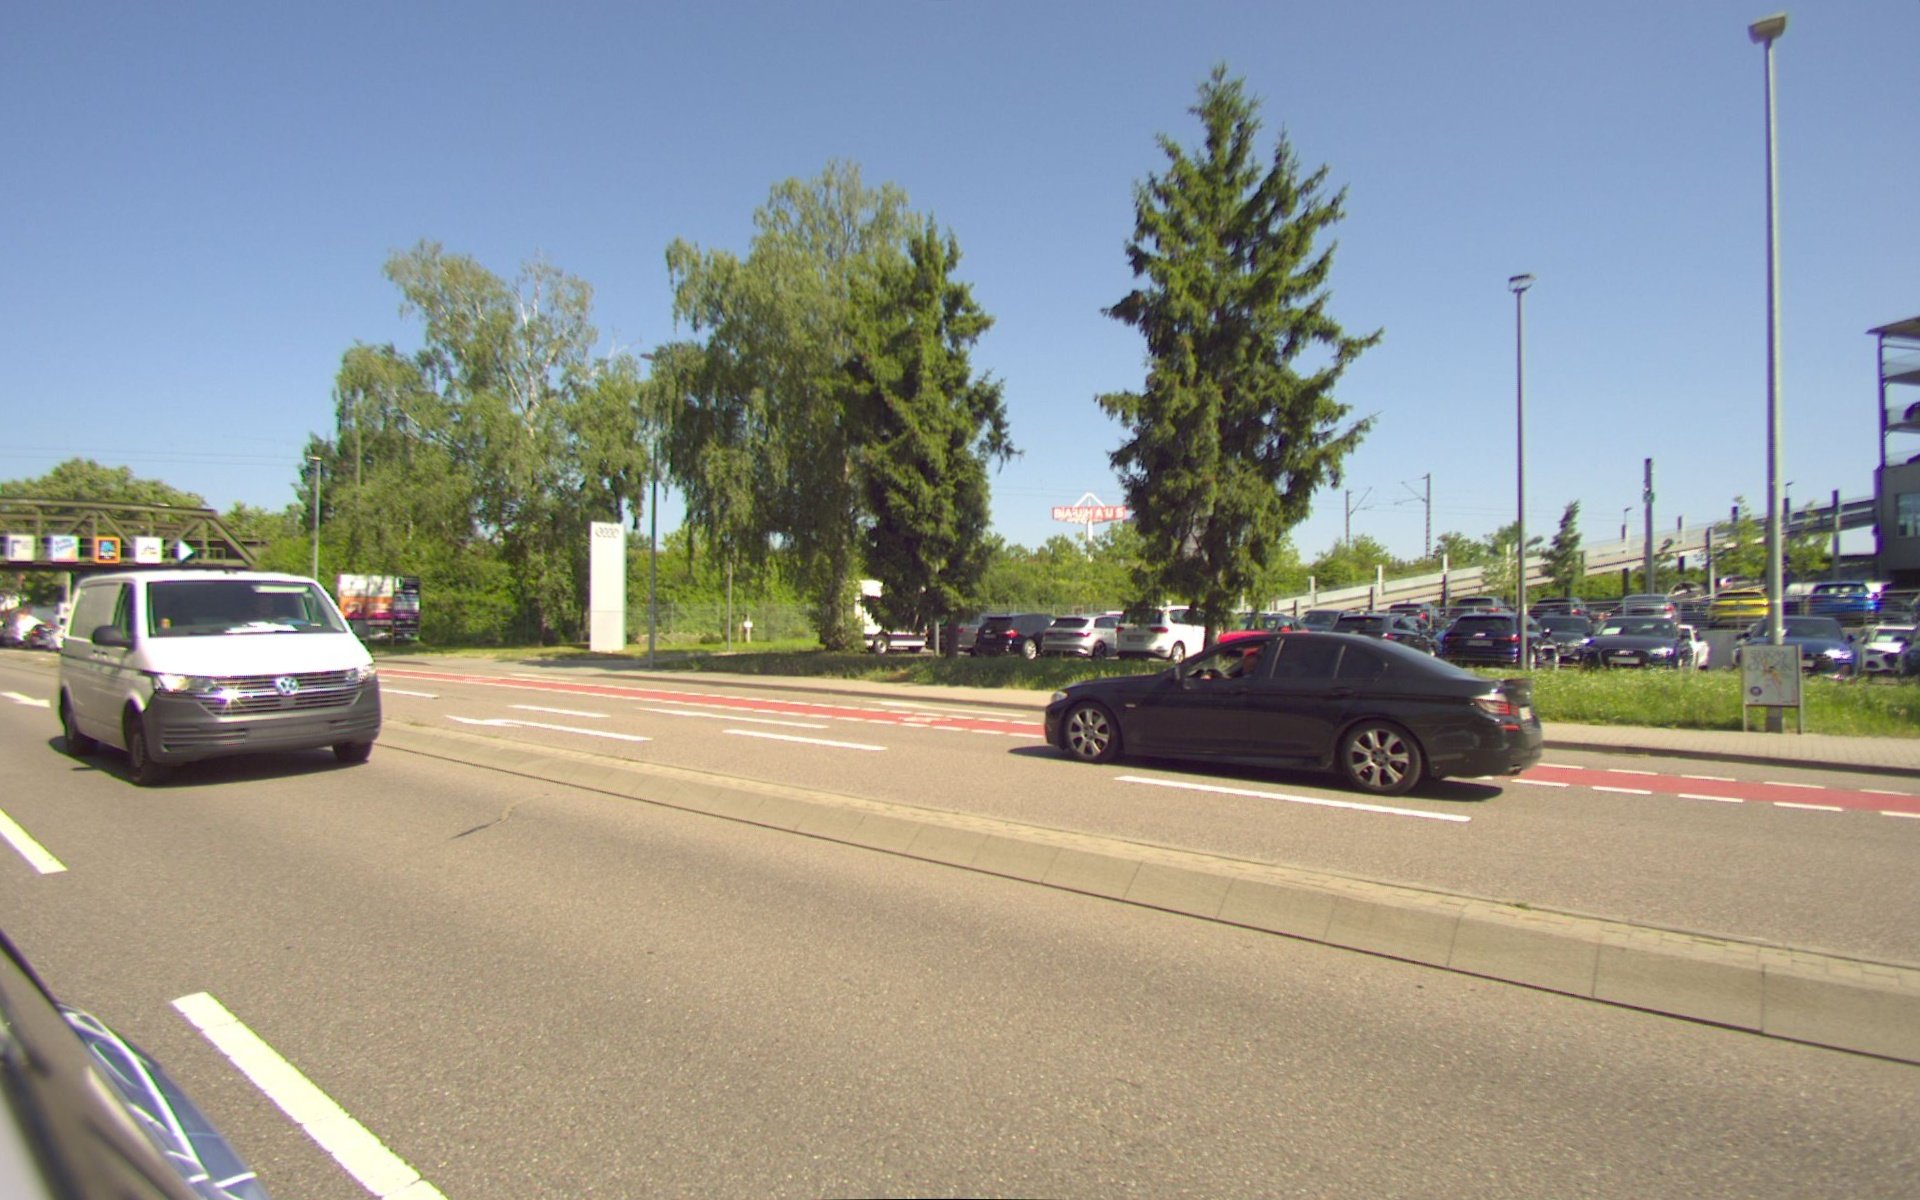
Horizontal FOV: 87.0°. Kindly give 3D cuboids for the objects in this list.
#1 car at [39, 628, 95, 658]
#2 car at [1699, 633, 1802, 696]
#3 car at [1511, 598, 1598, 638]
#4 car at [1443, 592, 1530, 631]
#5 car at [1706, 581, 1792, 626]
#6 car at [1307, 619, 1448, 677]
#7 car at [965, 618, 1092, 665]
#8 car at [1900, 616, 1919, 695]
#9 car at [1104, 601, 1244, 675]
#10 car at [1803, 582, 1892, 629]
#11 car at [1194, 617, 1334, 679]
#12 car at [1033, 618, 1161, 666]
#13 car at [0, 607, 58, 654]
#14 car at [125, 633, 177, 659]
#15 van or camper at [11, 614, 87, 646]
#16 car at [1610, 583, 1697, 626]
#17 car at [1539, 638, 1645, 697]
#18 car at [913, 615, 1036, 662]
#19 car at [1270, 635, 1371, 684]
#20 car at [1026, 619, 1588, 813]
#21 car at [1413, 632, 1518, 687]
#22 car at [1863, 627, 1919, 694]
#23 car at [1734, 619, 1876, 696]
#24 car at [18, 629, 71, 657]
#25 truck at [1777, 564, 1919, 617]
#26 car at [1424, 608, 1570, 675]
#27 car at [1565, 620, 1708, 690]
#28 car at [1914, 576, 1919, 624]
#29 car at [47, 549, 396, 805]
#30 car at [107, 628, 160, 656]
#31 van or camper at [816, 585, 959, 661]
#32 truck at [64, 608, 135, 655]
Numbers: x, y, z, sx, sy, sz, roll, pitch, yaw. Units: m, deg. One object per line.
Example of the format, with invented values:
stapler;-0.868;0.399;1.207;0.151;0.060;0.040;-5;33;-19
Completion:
car;-47.012;2.288;53.242;3.825;1.506;1.626;-3;-5;40
car;22.456;1.763;28.697;1.954;1.655;4.219;-2;-2;43
car;21.598;0.679;36.696;1.953;1.361;4.221;-2;-2;41
car;19.805;0.480;38.012;1.953;1.361;4.221;-2;-2;41
car;25.971;0.177;33.263;1.953;1.361;4.221;-2;-2;41
car;10.619;1.182;25.597;1.954;1.338;4.219;-2;-2;43
car;2.192;1.282;31.855;4.039;1.364;1.745;2;-2;-44
car;18.656;0.995;18.611;1.954;1.361;4.219;-2;-2;43
car;6.053;1.045;28.330;1.954;1.899;4.219;-2;-3;43
car;27.704;0.223;31.615;1.953;1.361;4.221;-2;-2;41
car;8.229;1.259;27.224;1.954;1.515;4.219;-2;-2;43
car;4.081;1.210;29.730;1.743;1.303;4.042;-2;-2;43
car;-58.894;1.953;63.701;6.930;2.827;1.973;-2;-5;39
car;-49.246;2.816;61.590;4.175;1.506;1.750;-3;-5;41
van or camper;-98.735;3.272;109.778;2.595;3.179;5.712;-3;-1;36
car;23.830;0.217;34.727;1.953;1.361;4.221;-2;-2;41
car;19.219;1.979;30.699;1.954;1.655;4.219;-2;-2;43
car;0.528;1.273;33.648;4.039;1.449;1.745;2;-3;-44
car;13.119;2.099;36.672;1.954;1.655;4.219;-2;-2;43
car;3.202;0.990;10.099;4.997;1.474;1.822;-1;-5;41
car;16.425;1.866;32.793;1.954;1.655;4.219;-2;-2;43
car;24.980;1.541;26.457;1.954;1.655;4.219;-2;-2;43
car;16.930;1.091;20.214;1.954;1.361;4.219;-2;-2;43
car;-53.139;2.529;58.700;4.175;1.506;1.750;-3;-5;41
truck;52.787;-0.485;59.591;8.321;2.939;2.673;1;-2;-13
car;12.415;0.928;23.272;1.954;1.392;4.219;-2;-2;43
car;14.784;1.139;22.018;1.954;1.361;4.219;-2;-2;43
car;29.586;-0.002;29.822;1.953;1.361;4.221;-2;-2;41
car;-7.713;0.686;10.349;4.973;2.009;1.862;-2;-3;42
car;-54.168;2.785;66.276;4.285;1.703;1.963;-3;-5;41
van or camper;-2.522;0.766;36.379;1.997;2.489;5.327;-3;-1;38
truck;-60.038;2.200;70.563;7.059;3.112;2.319;-2;-2;38
